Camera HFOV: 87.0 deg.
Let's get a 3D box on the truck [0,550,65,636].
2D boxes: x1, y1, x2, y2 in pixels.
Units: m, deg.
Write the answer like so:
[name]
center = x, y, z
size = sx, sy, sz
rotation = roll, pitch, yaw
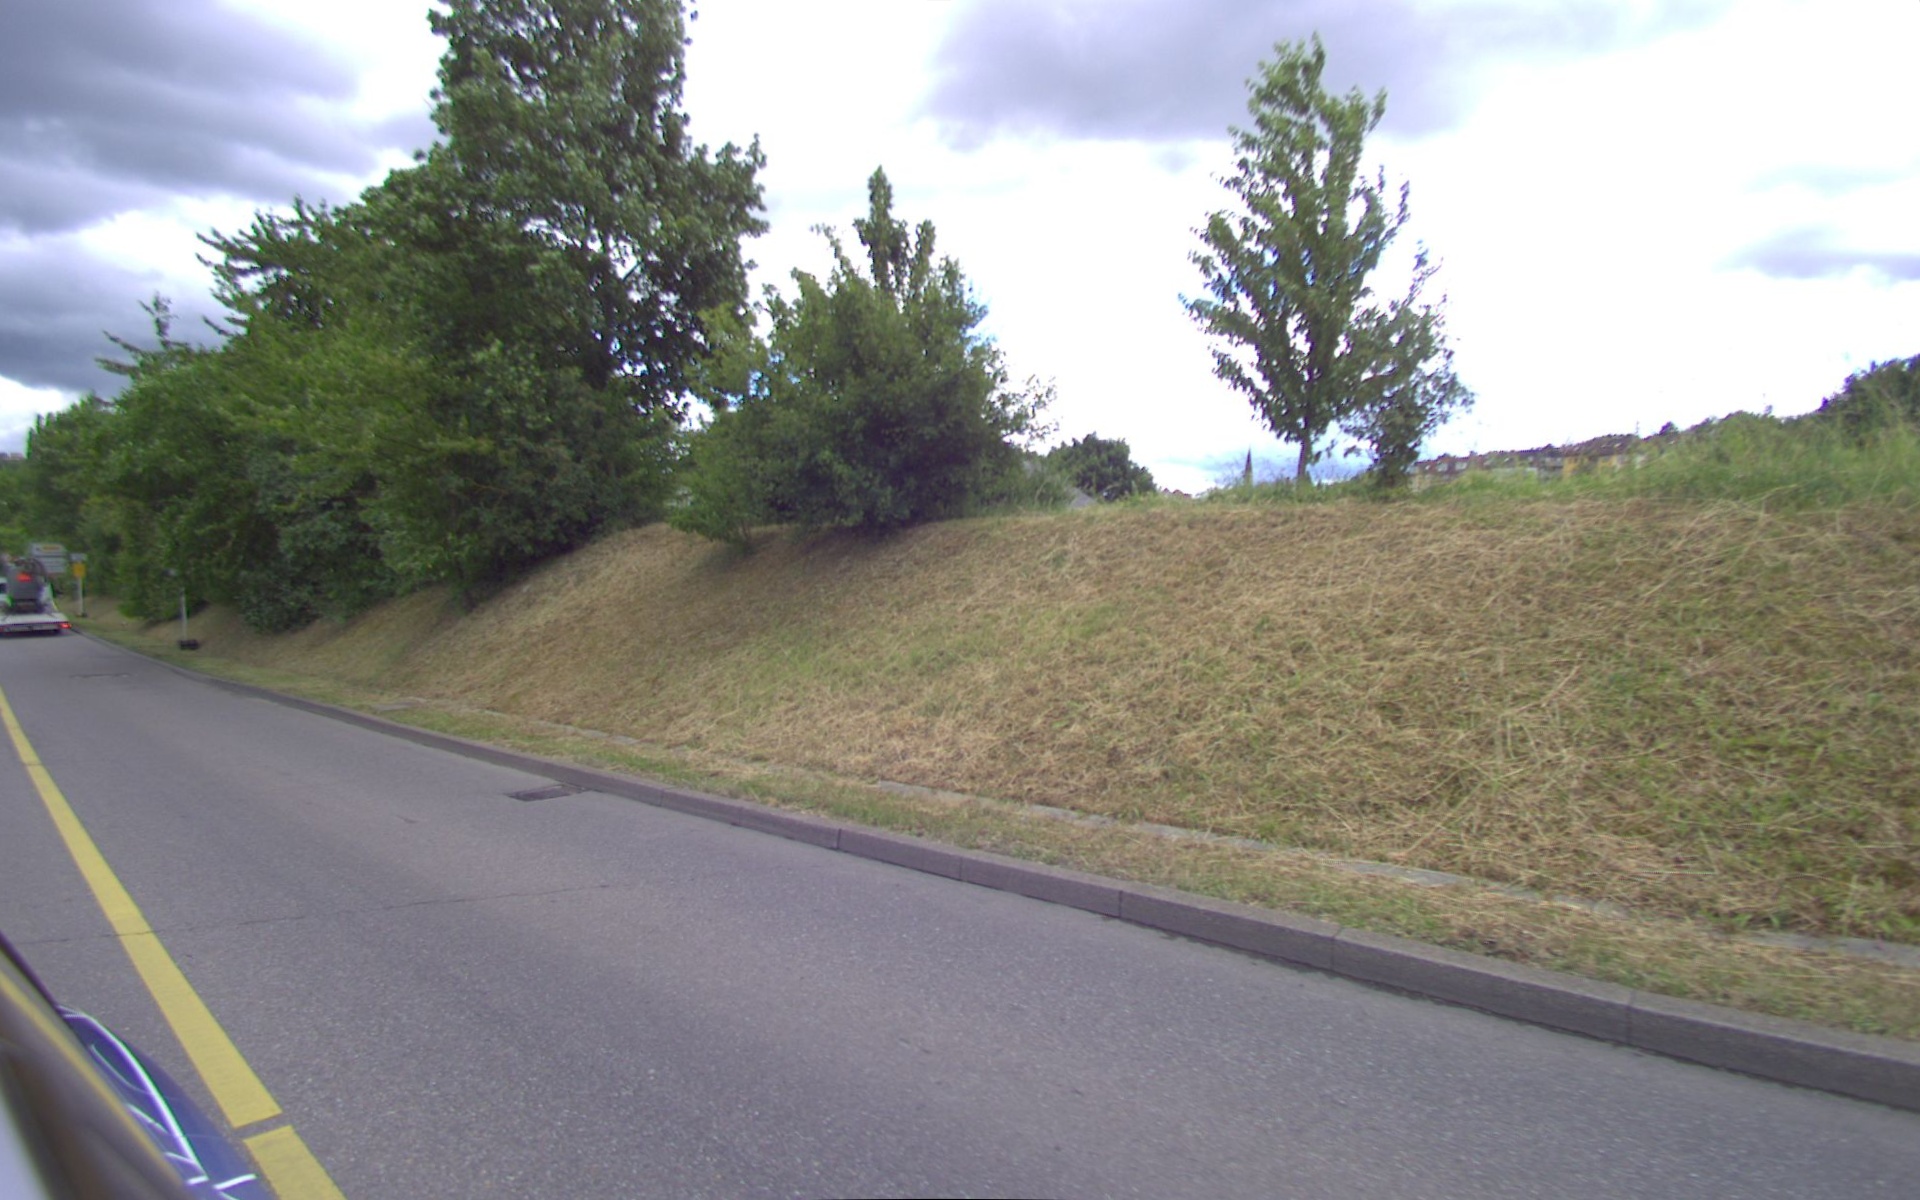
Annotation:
[truck]
center = -36.169, -0.232, 38.884
size = 7.743, 3.037, 2.190
rotation = 0, -1, 45
